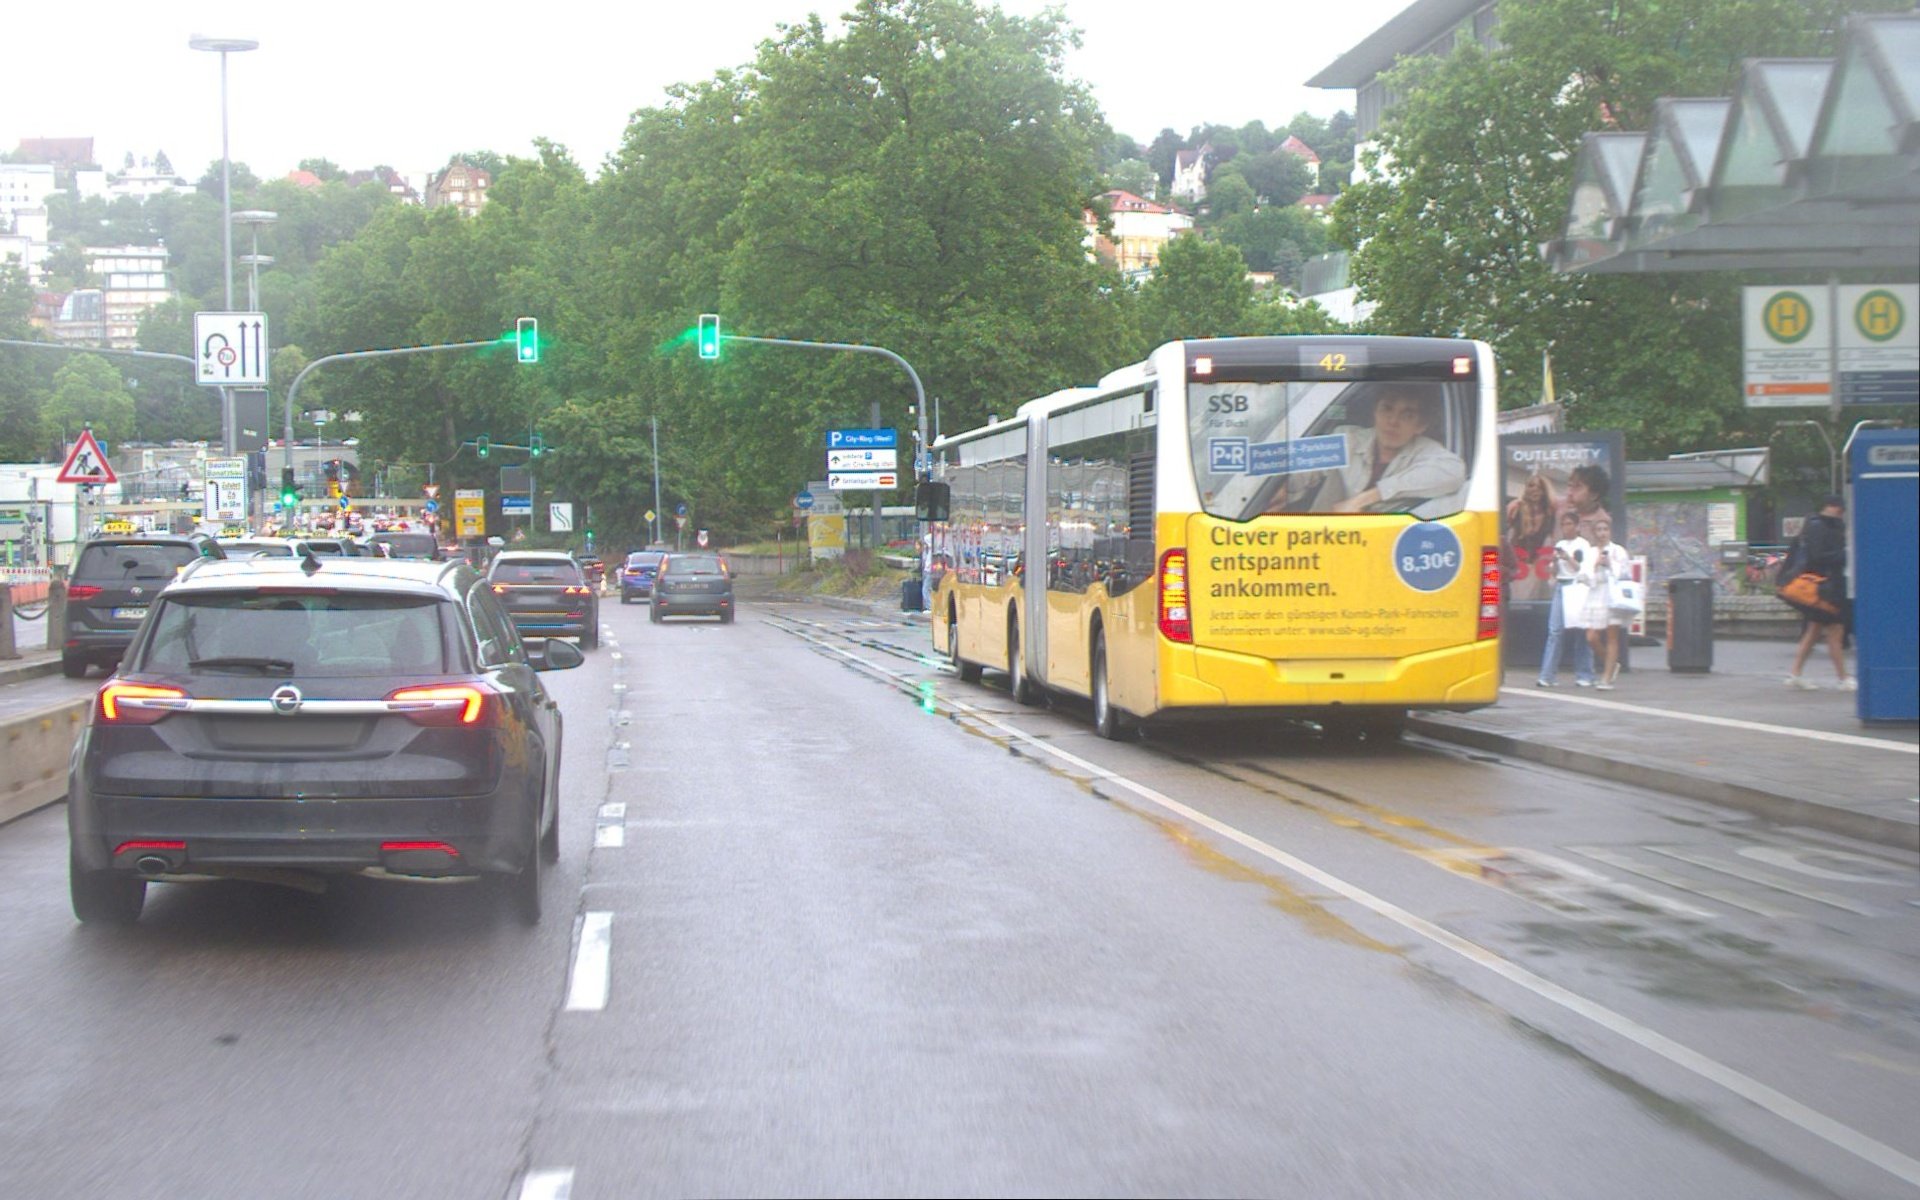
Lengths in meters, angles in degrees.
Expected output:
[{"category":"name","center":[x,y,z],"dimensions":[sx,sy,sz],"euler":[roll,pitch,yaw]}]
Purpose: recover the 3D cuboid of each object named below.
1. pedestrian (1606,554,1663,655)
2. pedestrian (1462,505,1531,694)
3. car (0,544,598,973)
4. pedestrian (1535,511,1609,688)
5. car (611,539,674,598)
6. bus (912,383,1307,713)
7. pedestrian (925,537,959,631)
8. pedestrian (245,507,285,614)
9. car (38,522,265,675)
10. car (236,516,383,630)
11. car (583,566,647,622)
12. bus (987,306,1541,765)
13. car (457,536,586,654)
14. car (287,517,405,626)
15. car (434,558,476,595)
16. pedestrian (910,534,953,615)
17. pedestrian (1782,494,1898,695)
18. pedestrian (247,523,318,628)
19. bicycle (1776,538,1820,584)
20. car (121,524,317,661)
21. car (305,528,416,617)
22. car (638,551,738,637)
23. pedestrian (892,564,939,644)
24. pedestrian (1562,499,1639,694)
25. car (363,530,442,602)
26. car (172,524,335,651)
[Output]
[{"category":"pedestrian","center":[8.331,0.053,42.500],"dimensions":[0.514,1.228,0.770],"euler":[-1,1,-2]},{"category":"pedestrian","center":[5.249,-0.012,33.669],"dimensions":[0.565,1.830,0.569],"euler":[0,1,-1]},{"category":"car","center":[-2.609,0.522,14.609],"dimensions":[1.877,1.503,4.852],"euler":[0,1,-3]},{"category":"pedestrian","center":[5.981,-0.008,33.602],"dimensions":[0.609,1.717,0.592],"euler":[0,1,-1]},{"category":"car","center":[-8.680,-0.849,93.841],"dimensions":[1.674,1.576,3.240],"euler":[0,0,-6]},{"category":"bus","center":[1.402,-0.533,38.041],"dimensions":[3.113,3.194,9.244],"euler":[0,0,-5]},{"category":"pedestrian","center":[-0.413,-0.368,78.679],"dimensions":[0.554,2.138,0.668],"euler":[-1,1,-20]},{"category":"pedestrian","center":[-13.137,-0.743,64.996],"dimensions":[0.621,2.007,0.836],"euler":[-1,1,-6]},{"category":"car","center":[-9.376,-0.057,40.216],"dimensions":[1.993,1.648,4.642],"euler":[-1,1,-6]},{"category":"car","center":[-10.824,-0.472,57.478],"dimensions":[1.993,1.781,4.849],"euler":[-1,1,-6]},{"category":"car","center":[-10.859,-0.194,108.063],"dimensions":[1.903,1.711,4.001],"euler":[0,0,-7]},{"category":"bus","center":[2.199,-0.484,28.905],"dimensions":[3.141,3.236,9.137],"euler":[0,0,-5]},{"category":"car","center":[-6.620,-0.104,52.049],"dimensions":[1.830,1.680,4.135],"euler":[-1,1,-7]},{"category":"car","center":[-11.197,-0.540,62.926],"dimensions":[1.713,1.885,4.611],"euler":[-1,1,-5]},{"category":"car","center":[-23.376,-1.081,159.025],"dimensions":[1.705,1.660,3.707],"euler":[0,0,-12]},{"category":"pedestrian","center":[-0.647,-0.573,77.227],"dimensions":[0.745,1.798,0.710],"euler":[-1,1,-20]},{"category":"pedestrian","center":[8.114,-0.058,31.734],"dimensions":[0.985,1.830,0.835],"euler":[0,1,11]},{"category":"pedestrian","center":[-13.036,-0.480,66.193],"dimensions":[0.835,2.007,1.026],"euler":[0,1,33]},{"category":"bicycle","center":[20.022,-0.943,82.174],"dimensions":[0.616,1.052,1.996],"euler":[-2,1,2]},{"category":"car","center":[-9.906,-0.133,46.316],"dimensions":[2.049,1.705,5.056],"euler":[-1,1,-6]},{"category":"car","center":[-11.995,-0.566,68.983],"dimensions":[1.786,1.680,4.667],"euler":[-1,1,-5]},{"category":"car","center":[-5.571,-0.133,70.093],"dimensions":[1.851,1.711,4.001],"euler":[0,0,-7]},{"category":"pedestrian","center":[-1.040,0.097,80.118],"dimensions":[0.786,1.832,0.950],"euler":[-1,1,-20]},{"category":"pedestrian","center":[6.071,-0.038,32.570],"dimensions":[0.695,1.830,0.555],"euler":[0,1,12]},{"category":"car","center":[-14.645,-0.893,90.381],"dimensions":[1.993,1.839,5.064],"euler":[0,0,-9]},{"category":"car","center":[-10.527,-0.209,51.481],"dimensions":[1.993,1.781,4.455],"euler":[-1,1,-7]}]
